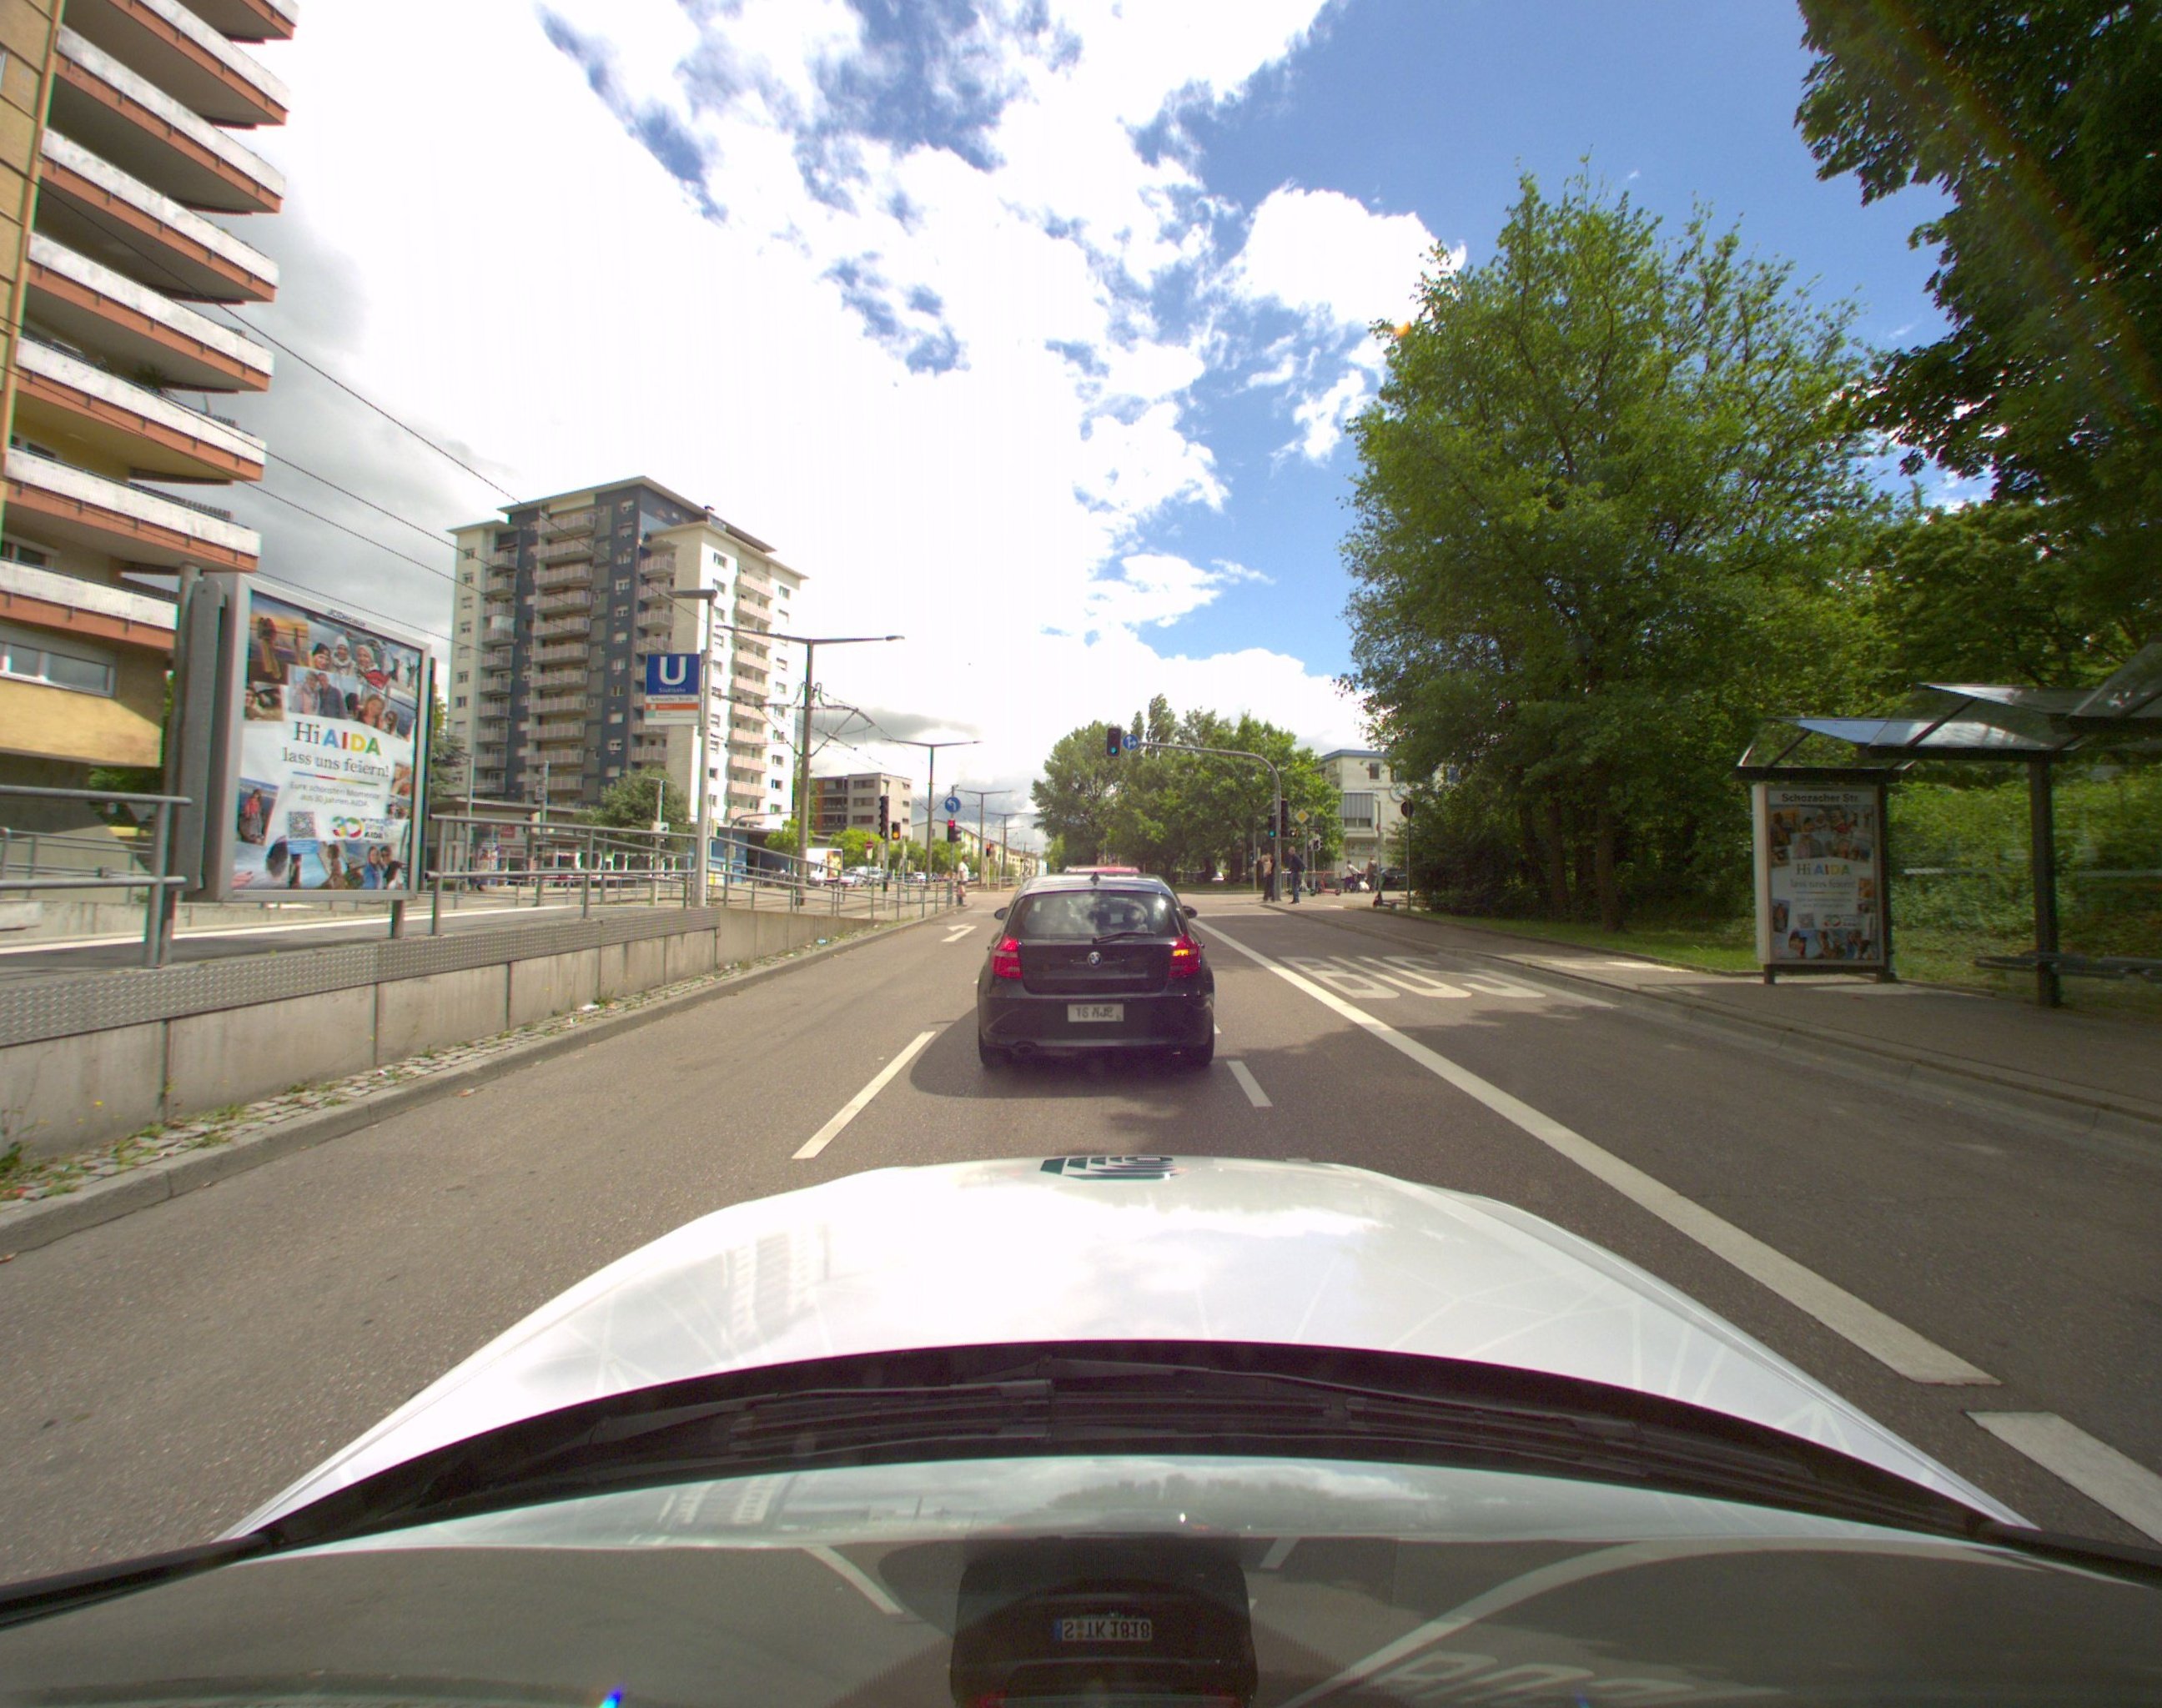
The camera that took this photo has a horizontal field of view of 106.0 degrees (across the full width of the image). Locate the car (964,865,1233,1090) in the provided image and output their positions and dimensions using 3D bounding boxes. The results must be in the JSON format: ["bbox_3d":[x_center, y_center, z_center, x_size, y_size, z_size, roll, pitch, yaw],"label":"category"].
[{"bbox_3d":[0.161,0.804,6.850,1.694,1.400,3.421,0,-1,2],"label":"car"}]

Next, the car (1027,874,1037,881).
[{"bbox_3d":[-10.989,5.328,182.882,1.643,1.534,3.877,0,-1,6],"label":"car"}]

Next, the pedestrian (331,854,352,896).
[{"bbox_3d":[-35.951,1.006,39.592,0.539,2.014,0.559,0,-1,-17],"label":"pedestrian"}]

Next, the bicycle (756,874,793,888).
[{"bbox_3d":[-23.776,2.121,63.148,2.570,1.009,0.749,2,-3,-27],"label":"bicycle"}]

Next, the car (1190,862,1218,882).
[{"bbox_3d":[11.998,1.749,79.569,1.724,1.871,3.990,0,-1,-7],"label":"car"}]

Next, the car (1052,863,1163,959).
[{"bbox_3d":[0.451,0.859,13.751,1.632,1.400,3.421,0,-1,2],"label":"car"}]

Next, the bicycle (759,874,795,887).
[{"bbox_3d":[-24.275,2.141,65.085,2.570,1.009,0.749,2,-3,-27],"label":"bicycle"}]

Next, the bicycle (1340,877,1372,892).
[{"bbox_3d":[12.519,1.387,37.110,0.534,0.610,1.581,2,-1,-17],"label":"bicycle"}]

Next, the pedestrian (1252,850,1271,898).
[{"bbox_3d":[6.746,0.729,30.404,0.632,1.766,0.519,0,-1,8],"label":"pedestrian"}]

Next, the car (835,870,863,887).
[{"bbox_3d":[-20.708,2.172,72.873,1.402,1.461,3.773,0,-1,0],"label":"car"}]

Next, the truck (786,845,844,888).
[{"bbox_3d":[-20.488,0.991,63.170,2.275,3.118,7.312,0,-1,-2],"label":"truck"}]

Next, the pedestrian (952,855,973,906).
[{"bbox_3d":[-4.054,0.902,27.867,0.686,1.734,0.686,-1,-1,-7],"label":"pedestrian"}]

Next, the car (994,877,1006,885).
[{"bbox_3d":[-16.503,5.550,166.354,1.643,1.534,3.878,0,-1,6],"label":"car"}]

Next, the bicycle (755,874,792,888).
[{"bbox_3d":[-24.151,2.131,63.980,2.570,1.009,0.749,2,-3,-27],"label":"bicycle"}]

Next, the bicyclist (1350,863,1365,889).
[{"bbox_3d":[12.553,1.005,37.041,0.502,1.157,0.397,0,-1,-16],"label":"bicyclist"}]

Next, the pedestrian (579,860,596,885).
[{"bbox_3d":[-39.654,1.471,65.405,0.851,2.014,0.852,-1,-1,29],"label":"pedestrian"}]

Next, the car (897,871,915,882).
[{"bbox_3d":[-24.150,3.043,112.670,1.586,1.474,3.775,0,-1,1],"label":"car"}]

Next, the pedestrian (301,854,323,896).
[{"bbox_3d":[-37.844,1.023,40.066,0.538,2.014,0.560,0,-1,-9],"label":"pedestrian"}]

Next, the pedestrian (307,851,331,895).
[{"bbox_3d":[-35.269,0.869,37.704,0.602,2.014,0.557,0,-1,-17],"label":"pedestrian"}]

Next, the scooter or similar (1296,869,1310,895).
[{"bbox_3d":[9.485,1.179,34.811,0.543,1.064,1.267,0,-1,16],"label":"scooter or similar"}]

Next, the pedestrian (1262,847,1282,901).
[{"bbox_3d":[6.709,0.715,28.585,0.632,1.876,0.519,0,-1,8],"label":"pedestrian"}]

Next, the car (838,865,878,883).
[{"bbox_3d":[-24.556,2.178,89.874,3.945,1.975,1.637,0,-1,-41],"label":"car"}]

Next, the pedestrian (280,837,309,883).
[{"bbox_3d":[-30.415,0.225,31.492,0.650,1.776,0.667,-1,-1,30],"label":"pedestrian"}]

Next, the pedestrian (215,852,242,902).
[{"bbox_3d":[-34.850,0.947,33.293,0.539,2.014,0.559,0,-1,-13],"label":"pedestrian"}]

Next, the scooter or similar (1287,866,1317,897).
[{"bbox_3d":[8.938,1.102,32.939,1.105,1.235,0.540,0,-1,4],"label":"scooter or similar"}]

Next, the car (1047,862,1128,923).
[{"bbox_3d":[0.228,0.924,21.406,1.893,1.422,4.540,0,-1,2],"label":"car"}]

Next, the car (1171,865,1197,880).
[{"bbox_3d":[11.426,2.081,90.574,1.862,1.662,3.987,0,-1,-9],"label":"car"}]

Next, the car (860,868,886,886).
[{"bbox_3d":[-20.474,2.276,80.325,1.586,1.756,3.775,0,-1,1],"label":"car"}]

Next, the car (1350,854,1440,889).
[{"bbox_3d":[18.520,1.030,48.112,4.529,2.014,1.996,0,-1,-6],"label":"car"}]

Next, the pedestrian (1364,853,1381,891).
[{"bbox_3d":[13.407,0.836,37.480,0.651,1.713,0.464,-1,-1,28],"label":"pedestrian"}]

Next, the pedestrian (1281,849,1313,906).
[{"bbox_3d":[7.264,0.784,27.424,1.003,1.876,0.801,-1,-1,13],"label":"pedestrian"}]

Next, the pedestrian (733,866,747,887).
[{"bbox_3d":[-31.660,2.085,75.564,0.852,2.014,0.851,-1,-1,19],"label":"pedestrian"}]

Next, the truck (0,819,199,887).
[{"bbox_3d":[-34.570,-0.019,28.762,4.262,2.290,2.352,0,-1,2],"label":"truck"}]

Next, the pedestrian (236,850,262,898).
[{"bbox_3d":[-35.087,0.836,34.358,0.539,2.014,0.559,0,-1,-14],"label":"pedestrian"}]

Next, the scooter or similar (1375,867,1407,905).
[{"bbox_3d":[10.803,1.106,28.388,0.886,1.230,0.455,4,-1,1],"label":"scooter or similar"}]

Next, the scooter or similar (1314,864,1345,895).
[{"bbox_3d":[10.315,1.044,33.789,1.145,1.272,0.556,1,-1,4],"label":"scooter or similar"}]
